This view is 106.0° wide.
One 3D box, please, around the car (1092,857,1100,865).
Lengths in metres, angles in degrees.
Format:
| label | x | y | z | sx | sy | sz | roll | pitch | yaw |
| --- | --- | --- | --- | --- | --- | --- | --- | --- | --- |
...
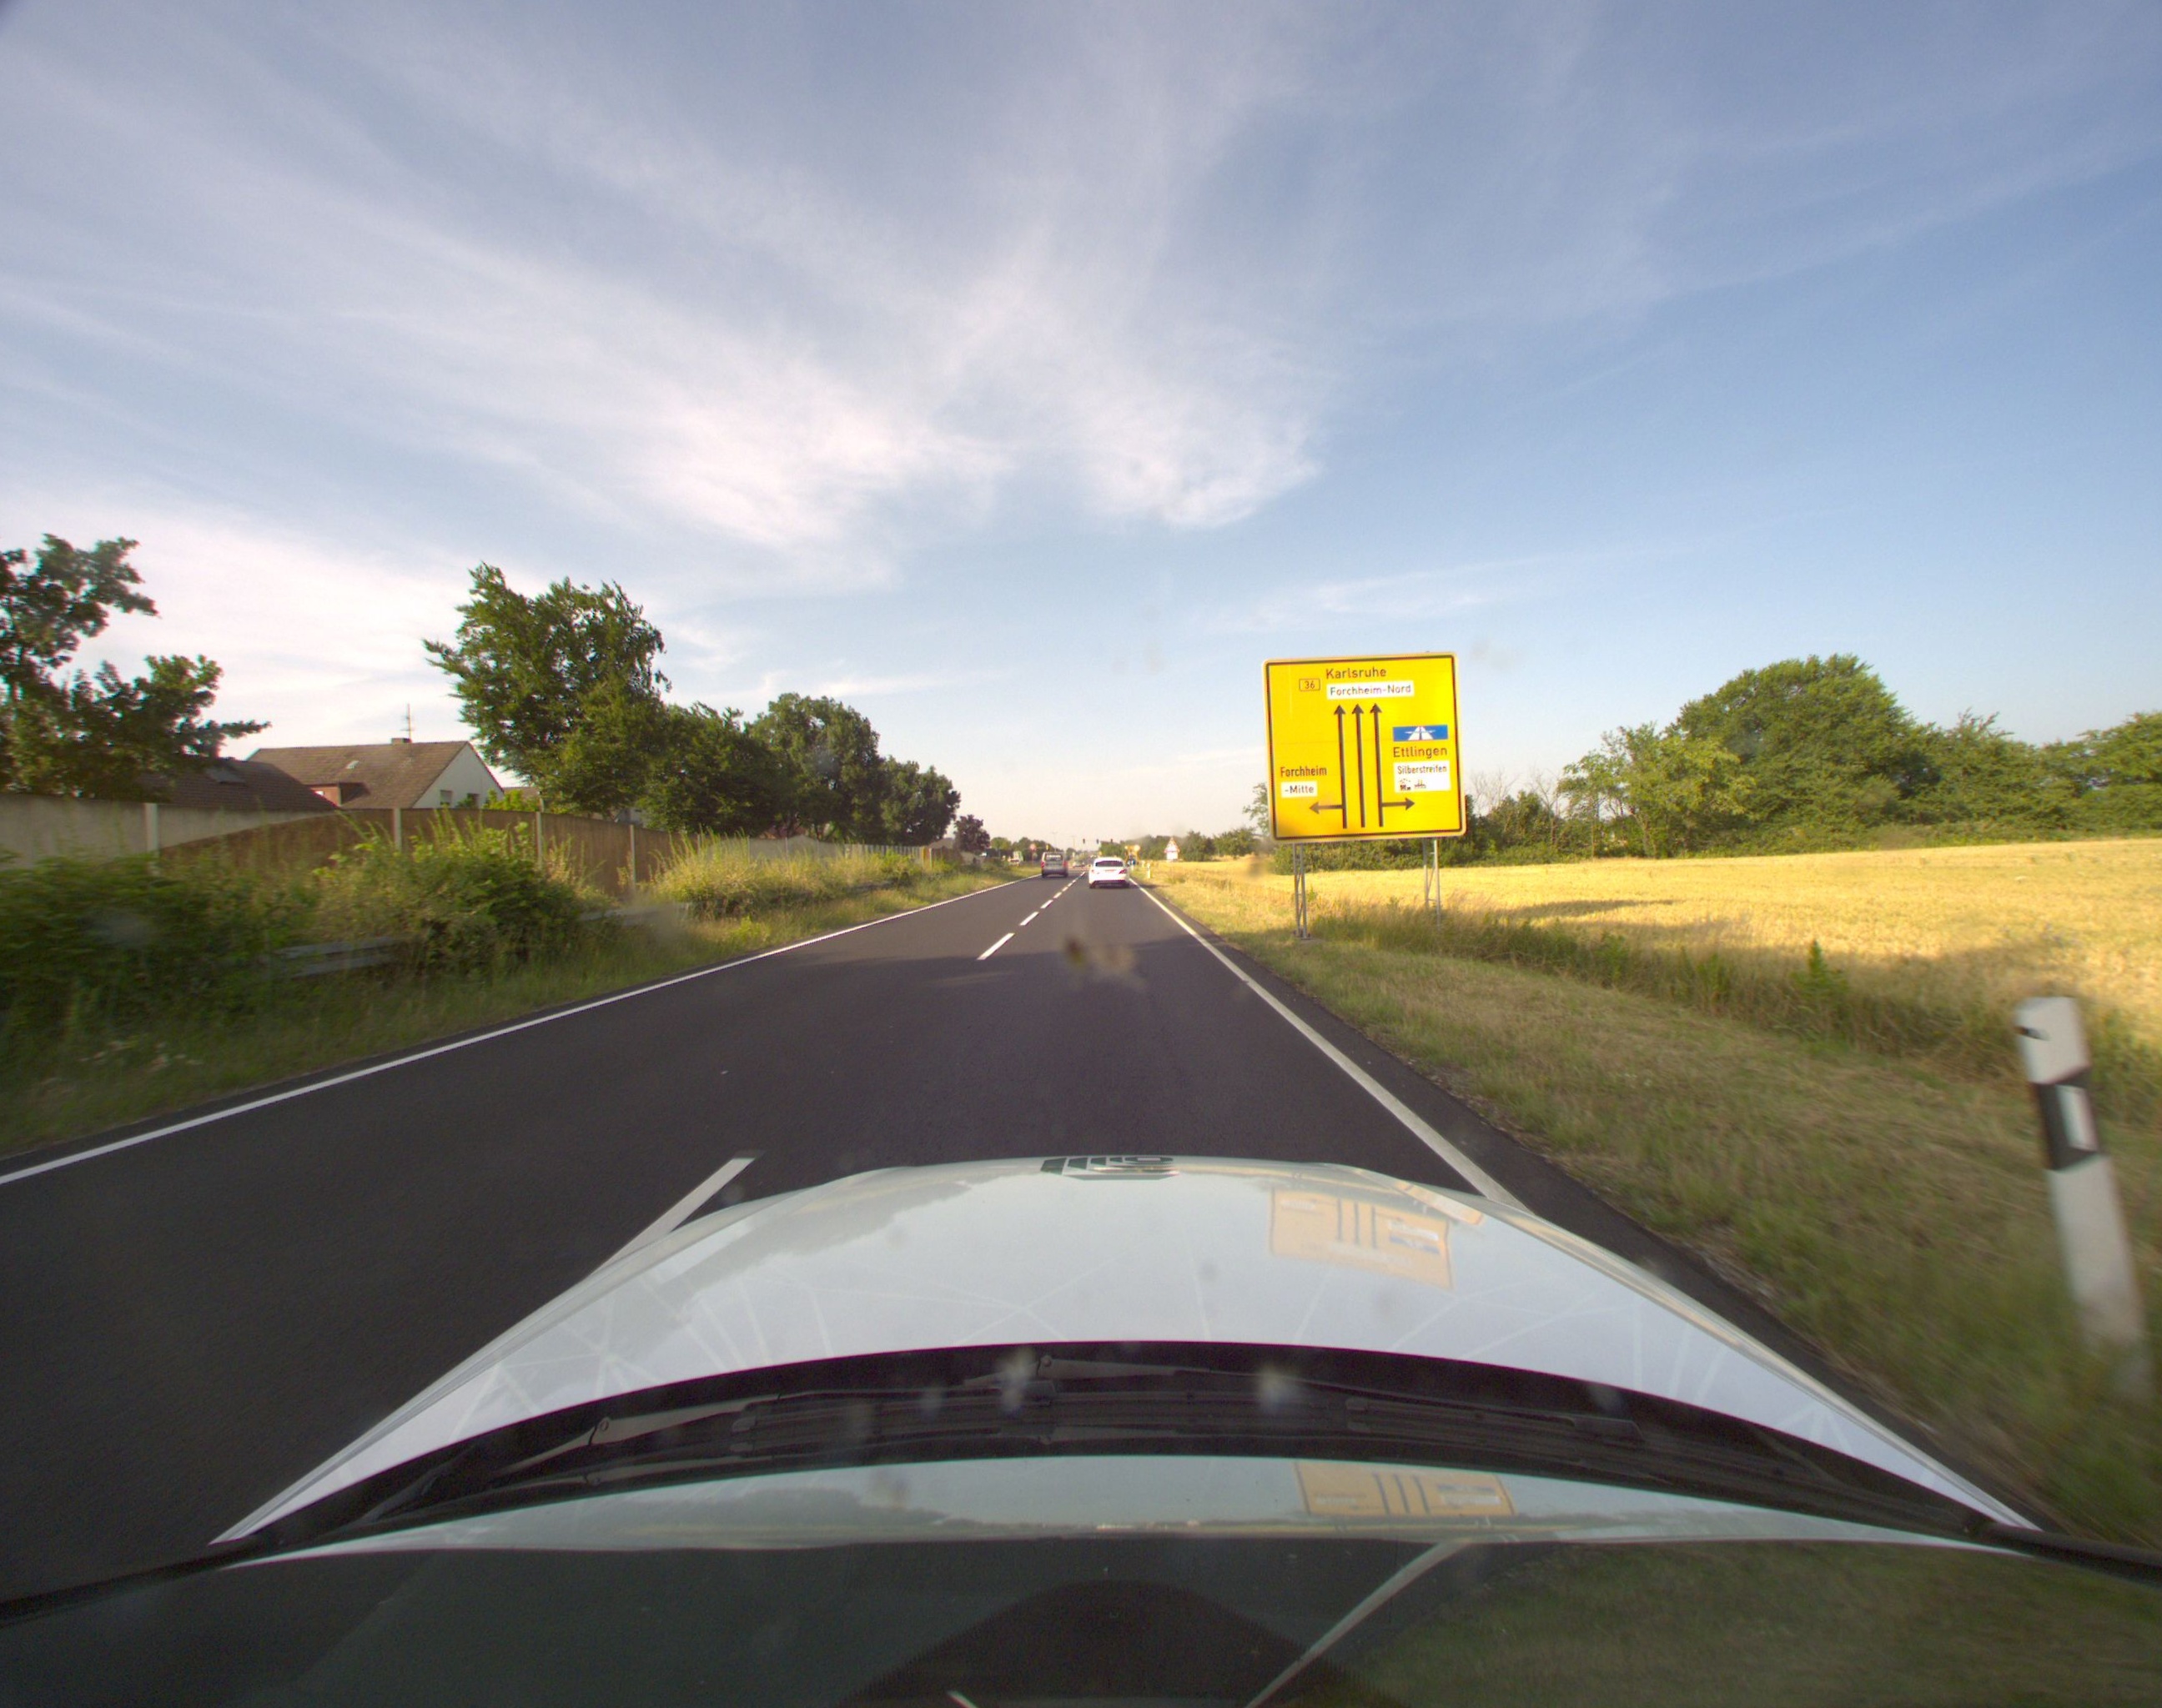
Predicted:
| label | x | y | z | sx | sy | sz | roll | pitch | yaw |
| --- | --- | --- | --- | --- | --- | --- | --- | --- | --- |
| car | 3.555 | 1.650 | 194.587 | 1.831 | 1.684 | 4.004 | 0 | 0 | 3 |

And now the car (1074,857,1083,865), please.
| label | x | y | z | sx | sy | sz | roll | pitch | yaw |
| --- | --- | --- | --- | --- | --- | --- | --- | --- | --- |
| car | -0.560 | 1.422 | 174.254 | 1.771 | 1.665 | 3.660 | 0 | 0 | -2 |

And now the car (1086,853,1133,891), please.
| label | x | y | z | sx | sy | sz | roll | pitch | yaw |
| --- | --- | --- | --- | --- | --- | --- | --- | --- | --- |
| car | 1.177 | 0.726 | 34.648 | 1.888 | 1.509 | 4.000 | -1 | 0 | 1 |

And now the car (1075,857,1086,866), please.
| label | x | y | z | sx | sy | sz | roll | pitch | yaw |
| --- | --- | --- | --- | --- | --- | --- | --- | --- | --- |
| car | -0.105 | 1.254 | 140.027 | 1.711 | 1.492 | 3.585 | 0 | 0 | 1 |

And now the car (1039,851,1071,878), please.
| label | x | y | z | sx | sy | sz | roll | pitch | yaw |
| --- | --- | --- | --- | --- | --- | --- | --- | --- | --- |
| car | -1.912 | 0.742 | 61.376 | 2.017 | 1.892 | 4.960 | 0 | 0 | 2 |
